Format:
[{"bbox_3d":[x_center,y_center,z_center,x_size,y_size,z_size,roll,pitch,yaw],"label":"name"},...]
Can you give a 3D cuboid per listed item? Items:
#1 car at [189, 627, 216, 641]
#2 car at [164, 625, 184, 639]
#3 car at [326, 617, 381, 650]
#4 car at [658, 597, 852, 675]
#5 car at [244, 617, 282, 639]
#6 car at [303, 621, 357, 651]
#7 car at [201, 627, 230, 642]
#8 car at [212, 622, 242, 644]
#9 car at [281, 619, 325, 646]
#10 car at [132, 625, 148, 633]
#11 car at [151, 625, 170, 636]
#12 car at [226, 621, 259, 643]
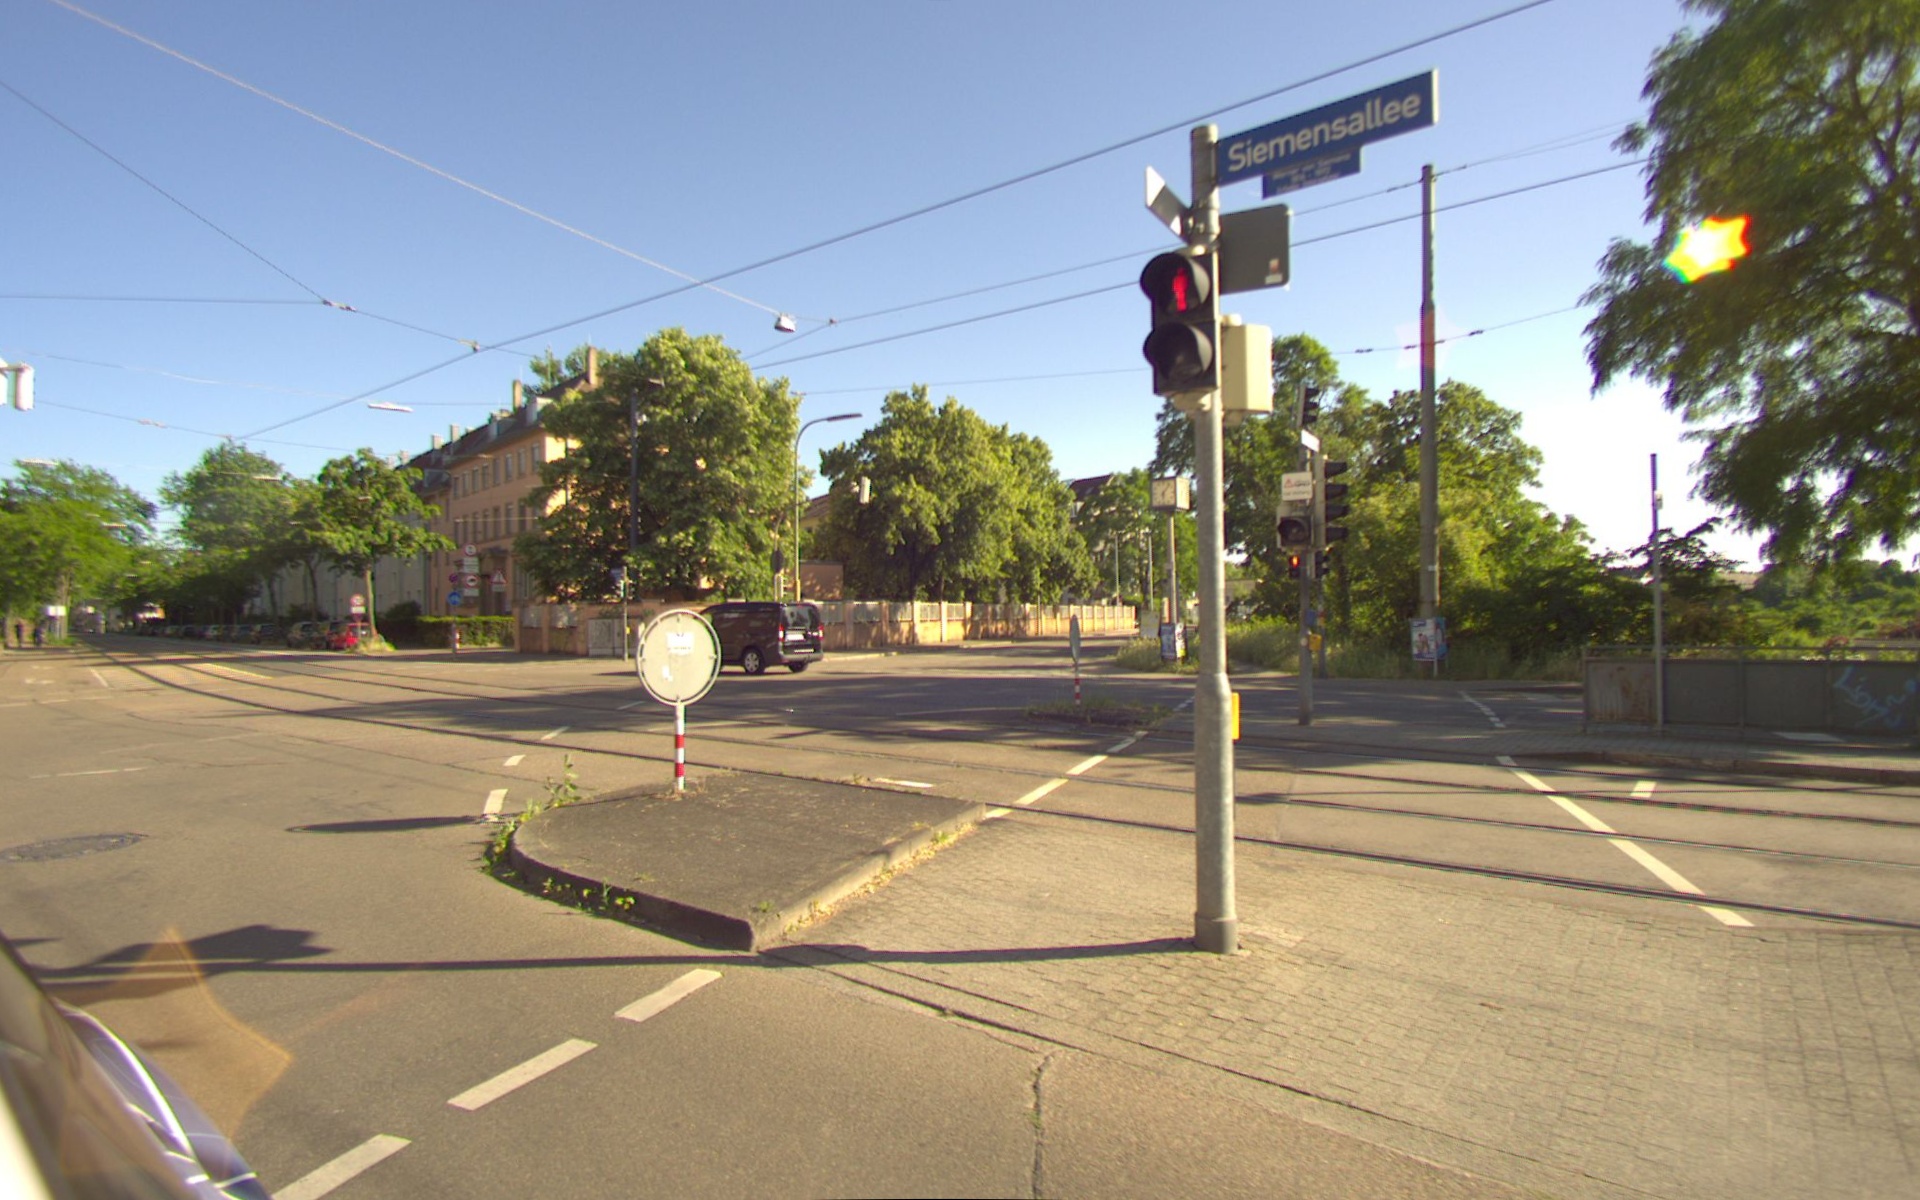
[{"bbox_3d":[-79.733,3.591,106.515,1.790,1.430,3.633,0,-2,-44],"label":"car"},{"bbox_3d":[-106.387,4.293,136.920,1.790,1.792,3.633,0,-2,-44],"label":"car"},{"bbox_3d":[-33.310,1.827,55.592,3.376,1.719,1.791,-2,-2,44],"label":"car"},{"bbox_3d":[-5.222,0.861,25.398,5.023,1.780,1.975,-1,-1,37],"label":"car"},{"bbox_3d":[-53.252,2.144,77.316,1.790,1.611,3.633,0,-2,-44],"label":"car"},{"bbox_3d":[-36.583,2.069,58.755,3.821,1.671,1.791,-2,-2,44],"label":"car"},{"bbox_3d":[-73.590,3.370,100.027,1.790,1.430,3.633,0,-2,-44],"label":"car"},{"bbox_3d":[-67.323,3.011,92.949,1.790,1.955,3.633,0,-2,-44],"label":"car"},{"bbox_3d":[-42.452,2.061,65.343,1.789,1.671,3.881,0,-2,-42],"label":"car"},{"bbox_3d":[-144.410,5.100,178.193,1.790,1.430,3.633,0,-1,-44],"label":"car"},{"bbox_3d":[-114.668,4.438,145.131,1.790,1.534,3.633,0,-2,-44],"label":"car"},{"bbox_3d":[-61.222,2.745,86.340,1.790,1.839,3.798,0,-2,-44],"label":"car"}]
